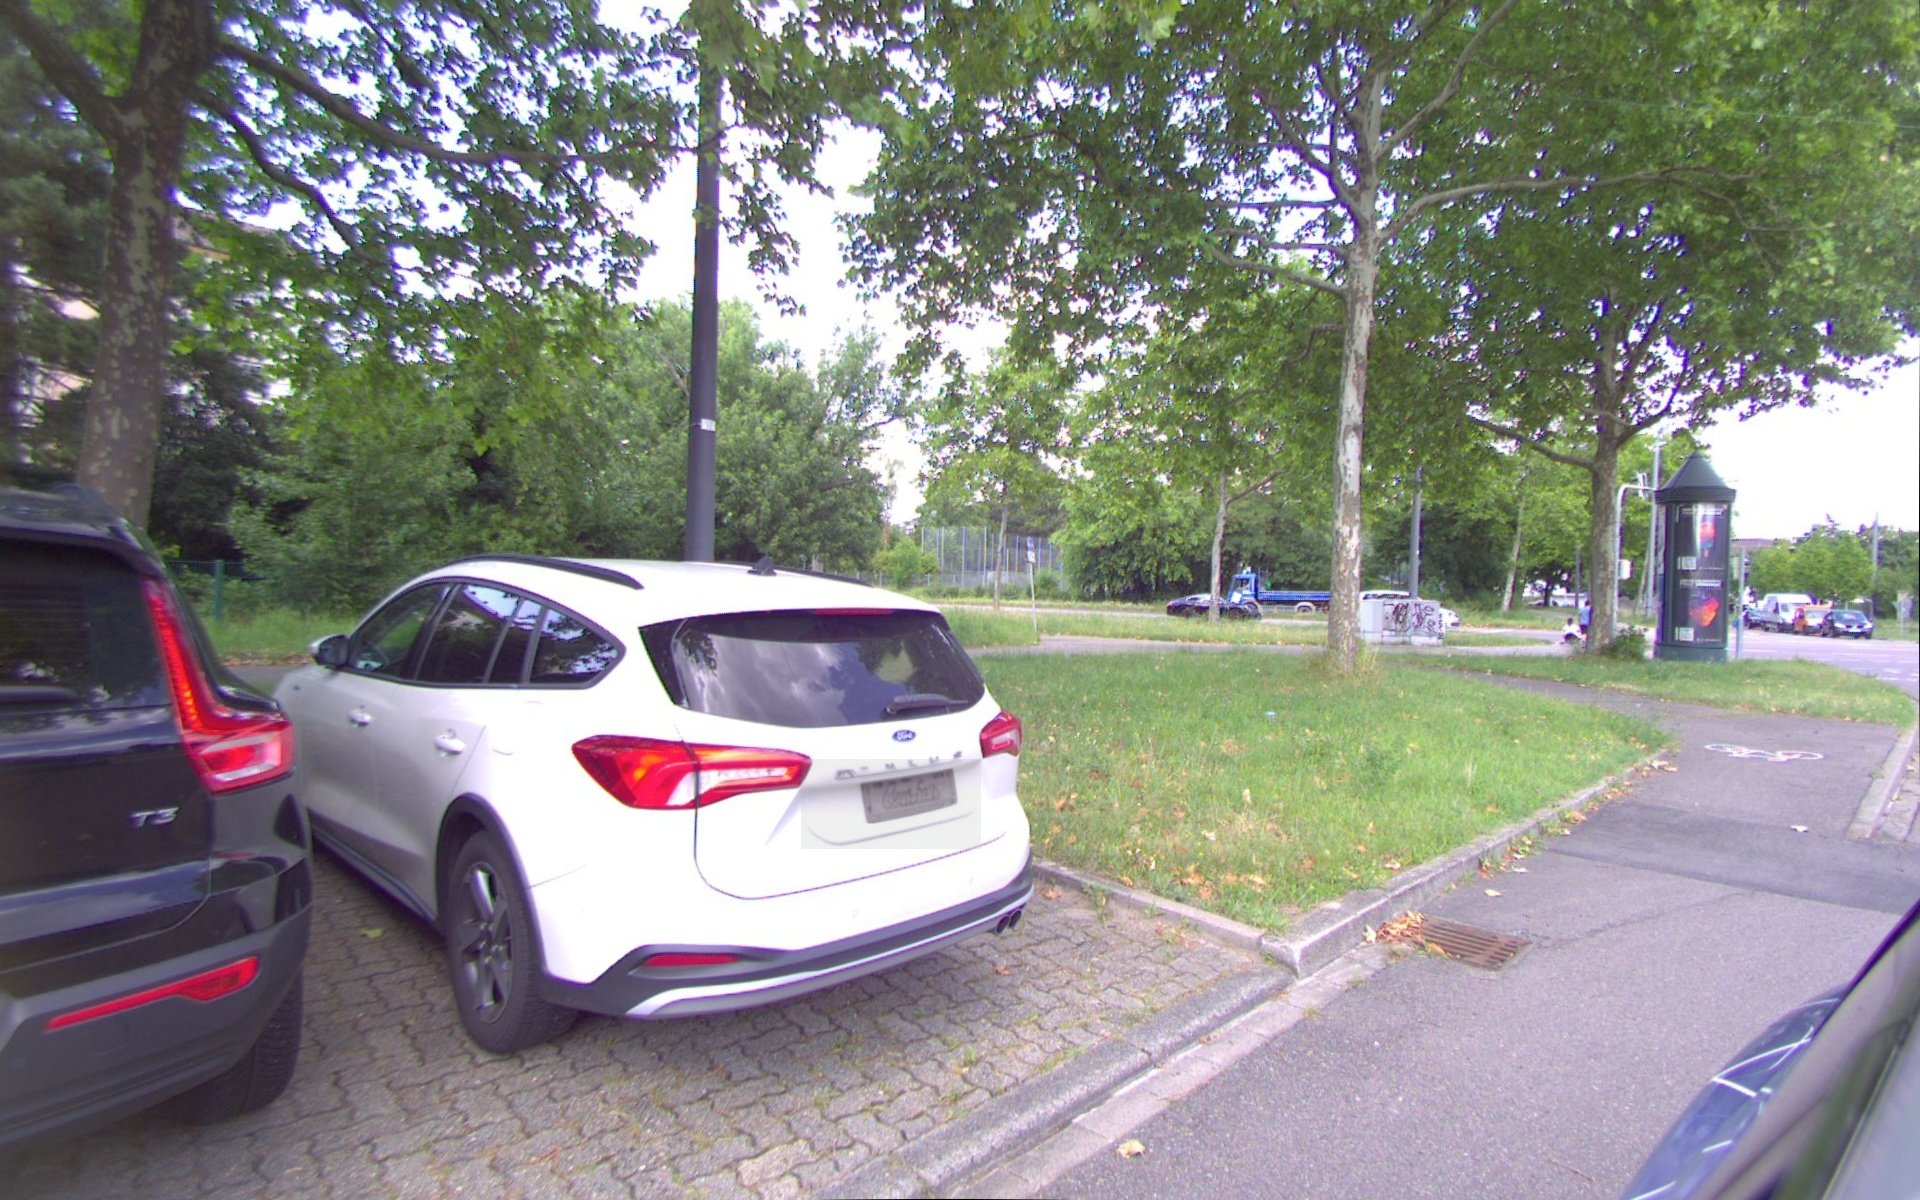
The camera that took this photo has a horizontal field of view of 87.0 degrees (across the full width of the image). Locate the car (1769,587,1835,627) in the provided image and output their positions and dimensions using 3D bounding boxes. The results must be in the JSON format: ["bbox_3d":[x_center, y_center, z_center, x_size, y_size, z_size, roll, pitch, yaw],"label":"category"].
[{"bbox_3d":[56.278,0.418,67.775,2.219,2.538,5.670,1,1,28],"label":"car"}]

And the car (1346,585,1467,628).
[{"bbox_3d":[19.240,0.247,43.617,4.644,1.630,1.981,2,2,28],"label":"car"}]

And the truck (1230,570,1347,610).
[{"bbox_3d":[18.276,-0.594,56.447,5.813,2.038,2.266,2,1,33],"label":"truck"}]

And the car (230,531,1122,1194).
[{"bbox_3d":[-1.729,0.490,4.584,4.661,1.492,1.818,4,2,45],"label":"car"}]

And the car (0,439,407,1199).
[{"bbox_3d":[-3.461,0.437,3.122,4.661,1.646,1.818,4,2,45],"label":"car"}]

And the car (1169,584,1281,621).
[{"bbox_3d":[12.270,0.089,46.979,4.706,1.487,1.981,2,2,28],"label":"car"}]

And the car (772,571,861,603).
[{"bbox_3d":[-7.895,-0.738,55.629,4.645,1.630,1.980,2,2,29],"label":"car"}]

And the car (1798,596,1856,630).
[{"bbox_3d":[53.147,0.754,62.101,1.780,1.959,4.325,1,1,29],"label":"car"}]

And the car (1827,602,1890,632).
[{"bbox_3d":[50.315,0.945,56.763,1.781,1.558,3.959,1,1,29],"label":"car"}]

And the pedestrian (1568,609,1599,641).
[{"bbox_3d":[21.050,0.834,34.157,0.720,1.047,0.888,2,1,43],"label":"pedestrian"}]

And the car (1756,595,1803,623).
[{"bbox_3d":[58.914,0.624,72.804,1.780,1.959,4.326,1,1,28],"label":"car"}]
